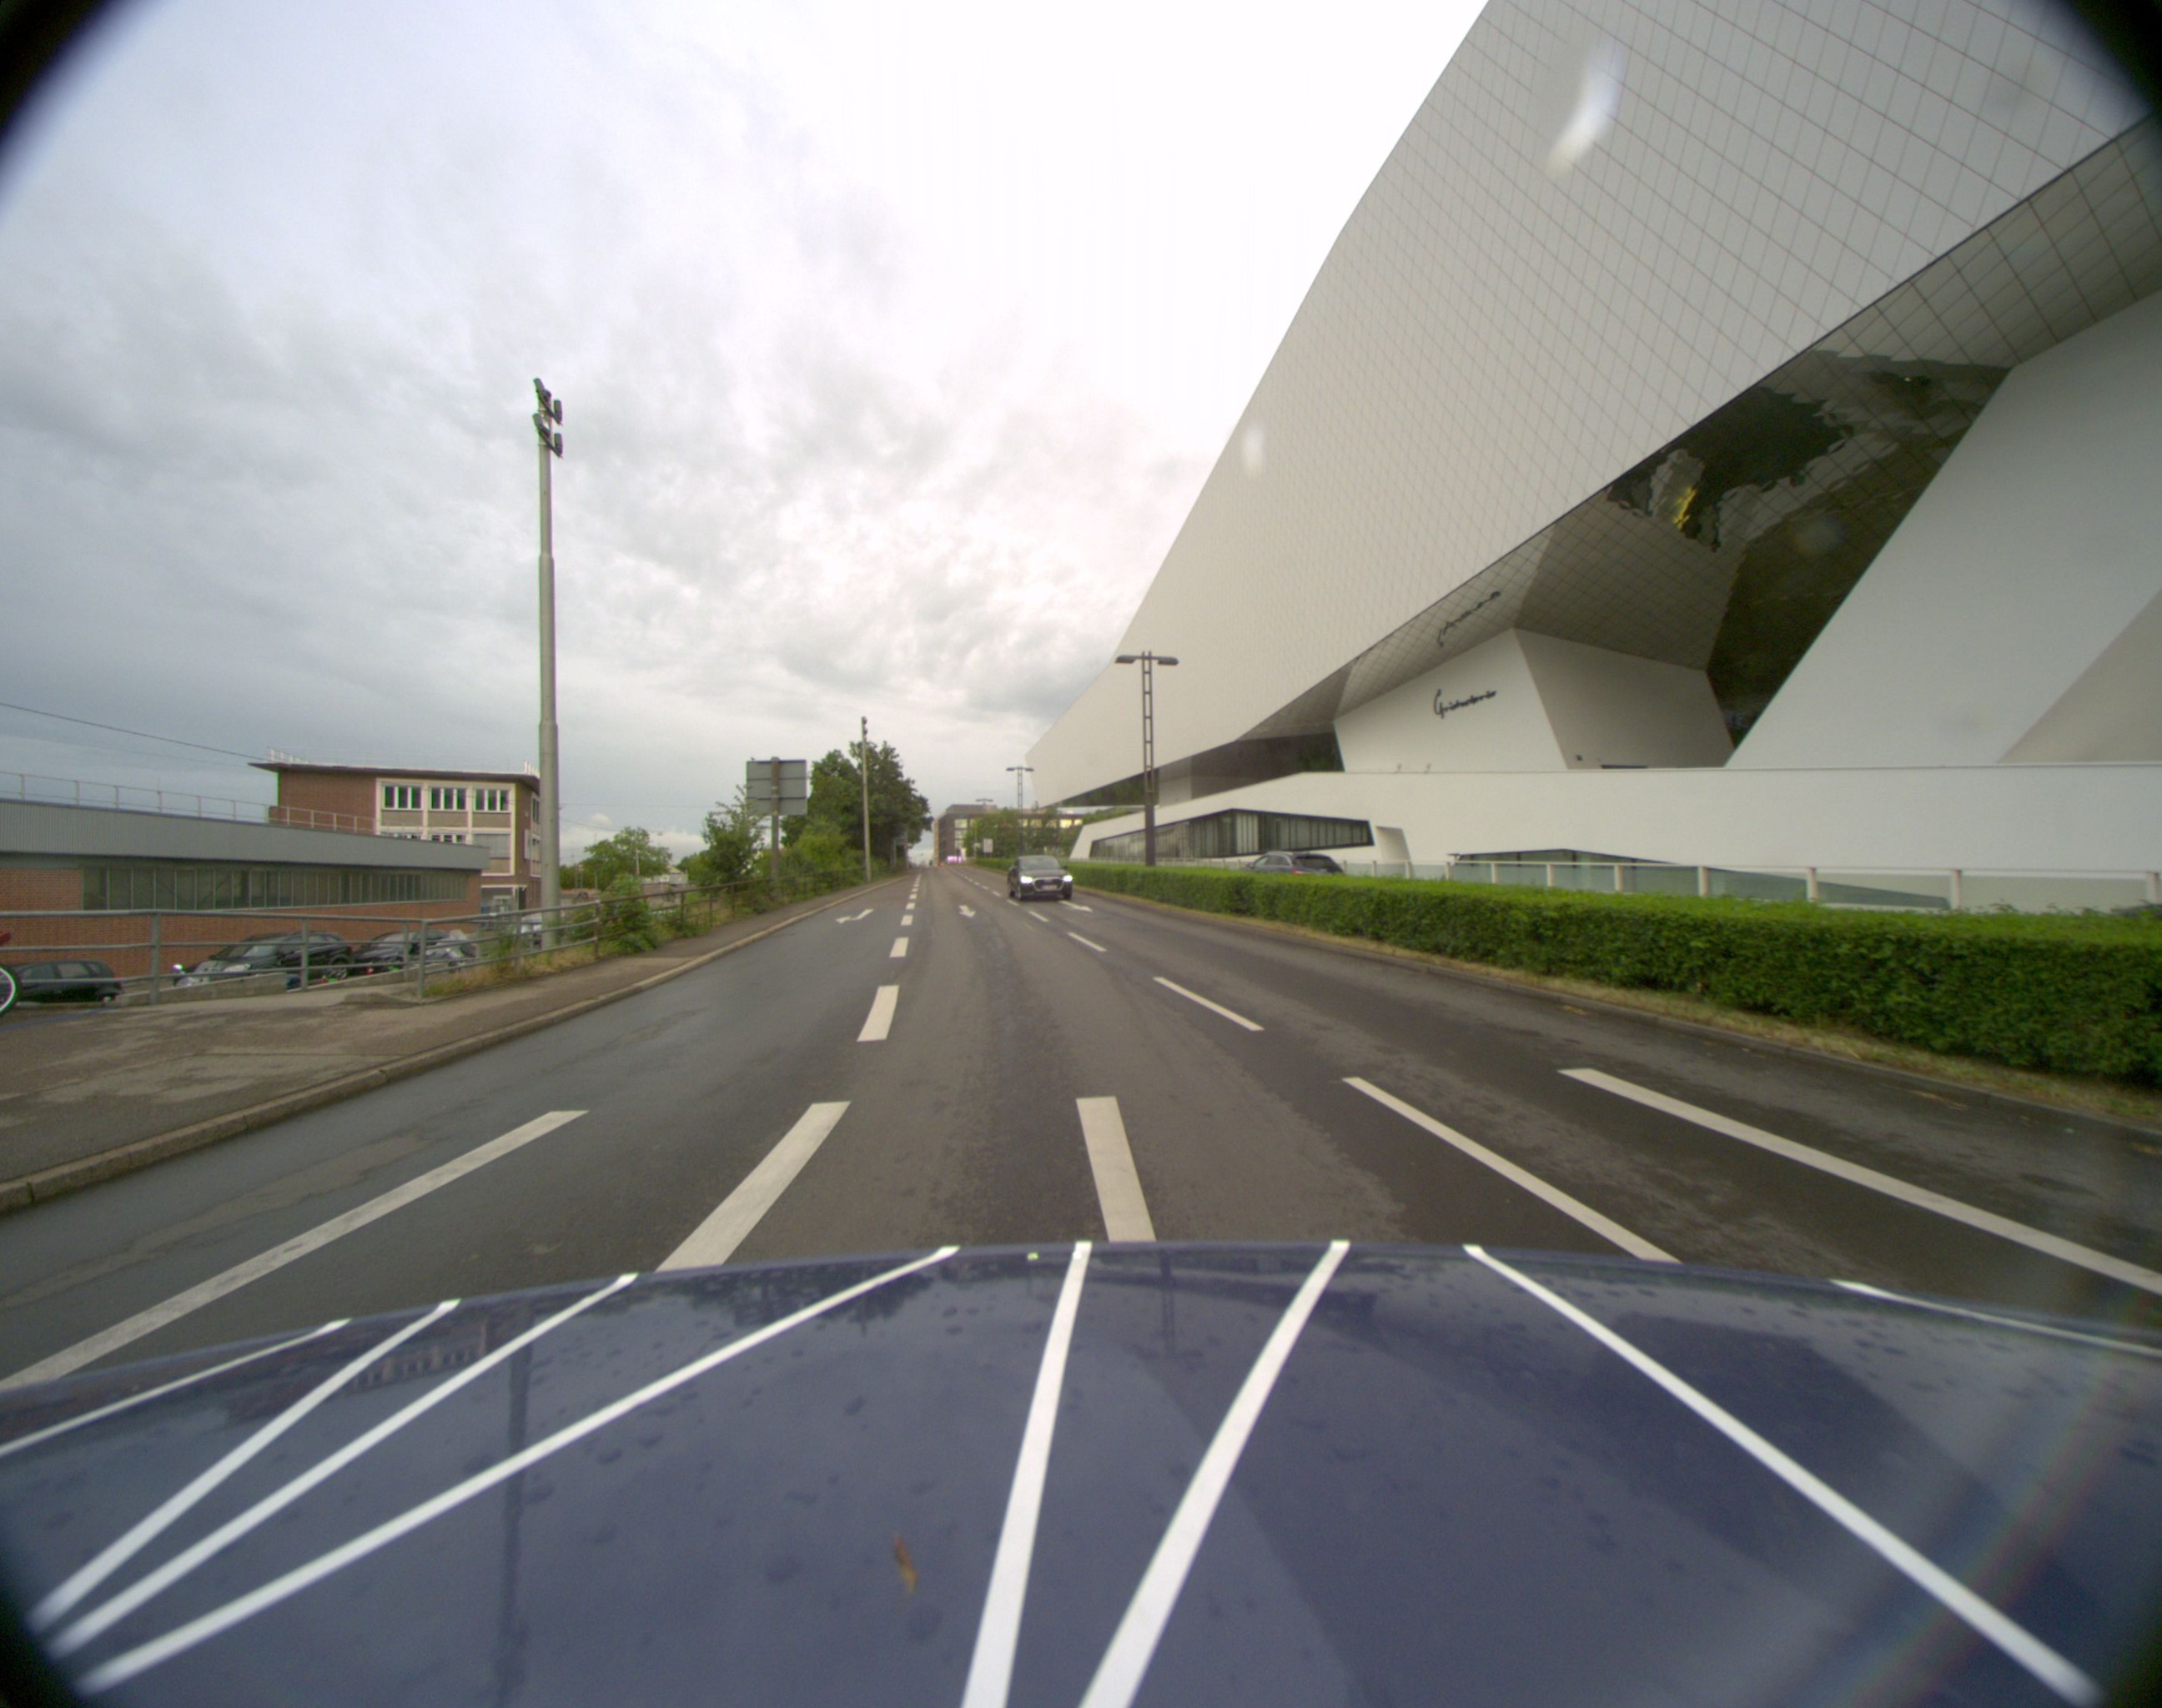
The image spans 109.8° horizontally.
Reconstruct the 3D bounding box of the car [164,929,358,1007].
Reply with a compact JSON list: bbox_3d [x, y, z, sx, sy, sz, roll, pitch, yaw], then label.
[{"bbox_3d":[-24.356,3.310,22.839,1.638,1.621,4.425,-1,0,-12],"label":"car"}]

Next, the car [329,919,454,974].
[{"bbox_3d":[-25.747,3.409,28.566,1.704,1.546,3.853,-1,0,-12],"label":"car"}]

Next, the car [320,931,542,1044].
[{"bbox_3d":[-12.790,2.541,15.310,1.704,1.546,3.853,-1,0,-12],"label":"car"}]

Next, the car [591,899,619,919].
[{"bbox_3d":[-41.978,4.825,67.033,1.670,1.387,3.992,-2,0,-27],"label":"car"}]

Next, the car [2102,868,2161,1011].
[{"bbox_3d":[12.682,0.878,6.406,1.841,1.463,4.507,-1,0,-18],"label":"car"}]

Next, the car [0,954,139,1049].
[{"bbox_3d":[-23.295,3.231,16.305,1.704,1.618,3.927,-1,0,-11],"label":"car"}]

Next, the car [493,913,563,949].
[{"bbox_3d":[-30.077,4.167,41.443,1.704,1.546,3.852,-1,0,-14],"label":"car"}]

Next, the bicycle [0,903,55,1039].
[{"bbox_3d":[-10.550,1.060,6.556,1.935,1.171,0.598,-1,1,-26],"label":"bicycle"}]

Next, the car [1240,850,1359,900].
[{"bbox_3d":[6.471,0.591,22.960,1.852,1.330,3.996,-1,0,-10],"label":"car"}]

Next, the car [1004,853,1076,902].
[{"bbox_3d":[-1.561,0.784,27.450,1.843,1.574,4.284,-1,0,-13],"label":"car"}]
